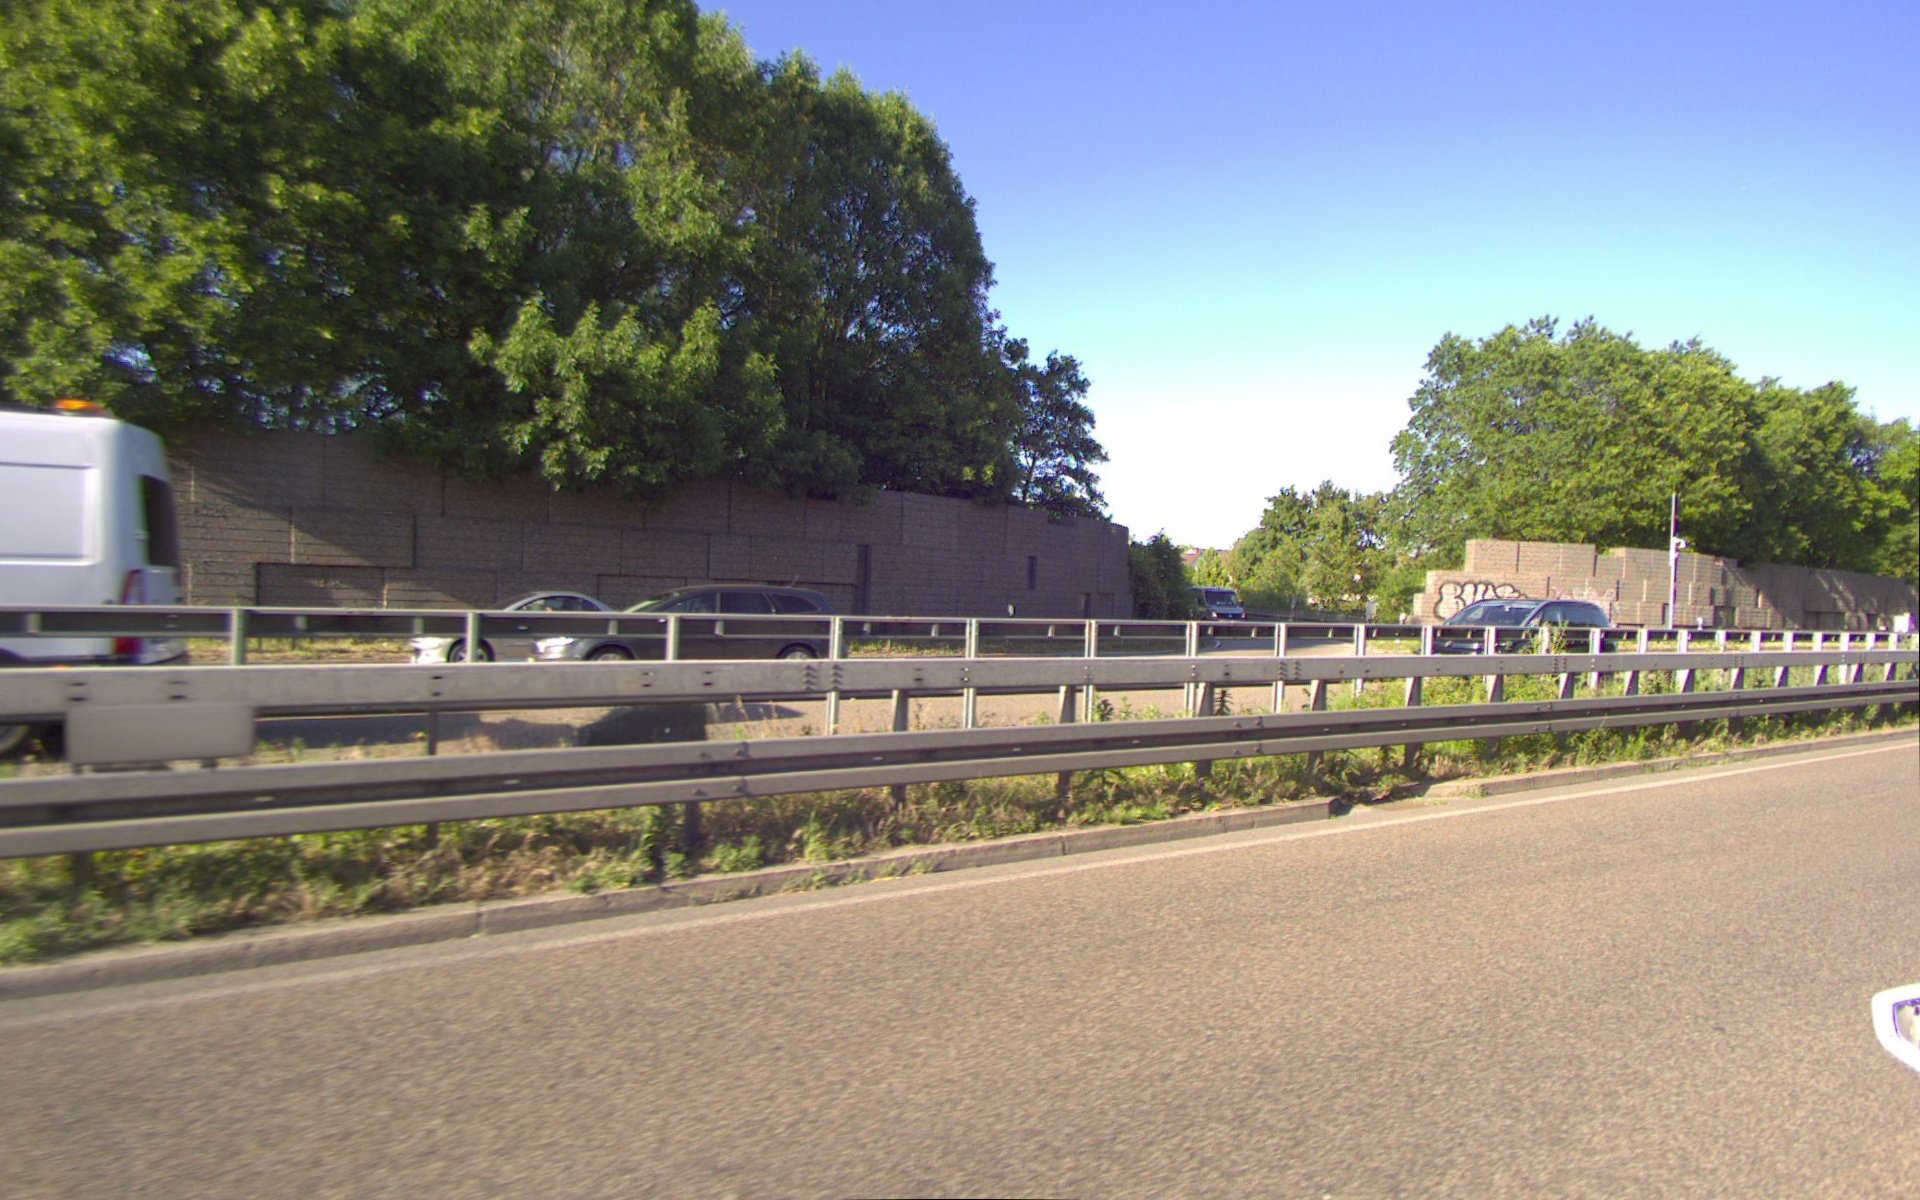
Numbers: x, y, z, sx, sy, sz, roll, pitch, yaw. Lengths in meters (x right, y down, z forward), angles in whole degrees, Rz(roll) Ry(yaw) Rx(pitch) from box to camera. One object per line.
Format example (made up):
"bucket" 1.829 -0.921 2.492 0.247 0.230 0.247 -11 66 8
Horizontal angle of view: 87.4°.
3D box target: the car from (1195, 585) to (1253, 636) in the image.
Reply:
"car" 13.385 0.461 51.238 2.041 2.311 5.376 2 2 7

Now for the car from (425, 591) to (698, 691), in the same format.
"car" -6.681 0.624 16.936 3.985 1.406 1.982 0 3 -33

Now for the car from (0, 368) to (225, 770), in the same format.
"car" -8.999 -0.276 6.577 6.508 2.720 2.111 1 3 -29

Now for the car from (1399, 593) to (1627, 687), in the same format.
"car" 10.444 0.683 18.917 4.200 1.600 1.983 0 0 -32

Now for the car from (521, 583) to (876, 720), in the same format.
"car" -3.738 0.658 14.587 4.641 1.642 1.892 1 3 -31
